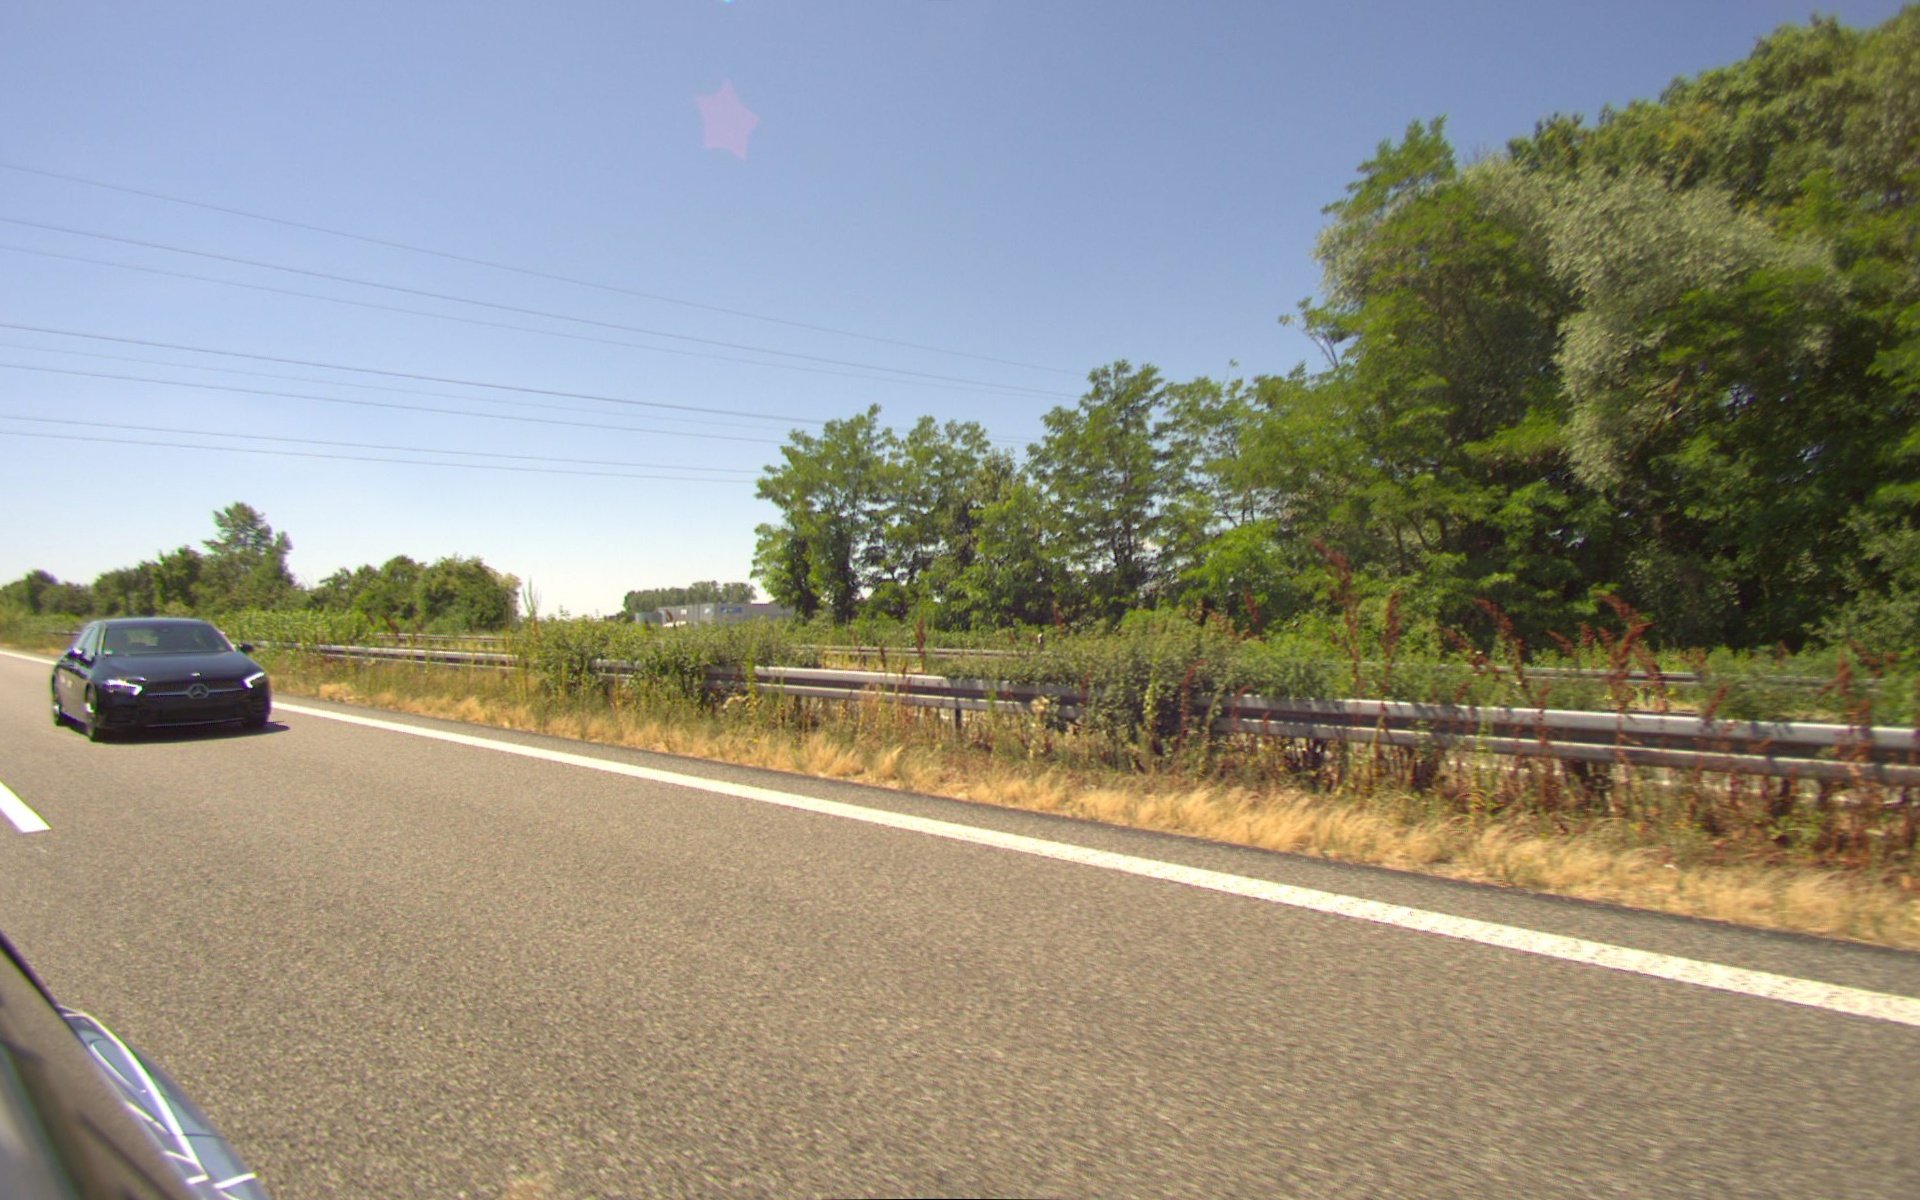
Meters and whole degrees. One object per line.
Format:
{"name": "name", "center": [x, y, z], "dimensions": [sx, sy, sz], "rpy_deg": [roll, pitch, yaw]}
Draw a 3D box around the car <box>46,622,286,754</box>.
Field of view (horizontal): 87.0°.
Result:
{"name": "car", "center": [-10.477, 1.020, 13.256], "dimensions": [4.051, 1.422, 1.773], "rpy_deg": [-1, 0, 41]}
